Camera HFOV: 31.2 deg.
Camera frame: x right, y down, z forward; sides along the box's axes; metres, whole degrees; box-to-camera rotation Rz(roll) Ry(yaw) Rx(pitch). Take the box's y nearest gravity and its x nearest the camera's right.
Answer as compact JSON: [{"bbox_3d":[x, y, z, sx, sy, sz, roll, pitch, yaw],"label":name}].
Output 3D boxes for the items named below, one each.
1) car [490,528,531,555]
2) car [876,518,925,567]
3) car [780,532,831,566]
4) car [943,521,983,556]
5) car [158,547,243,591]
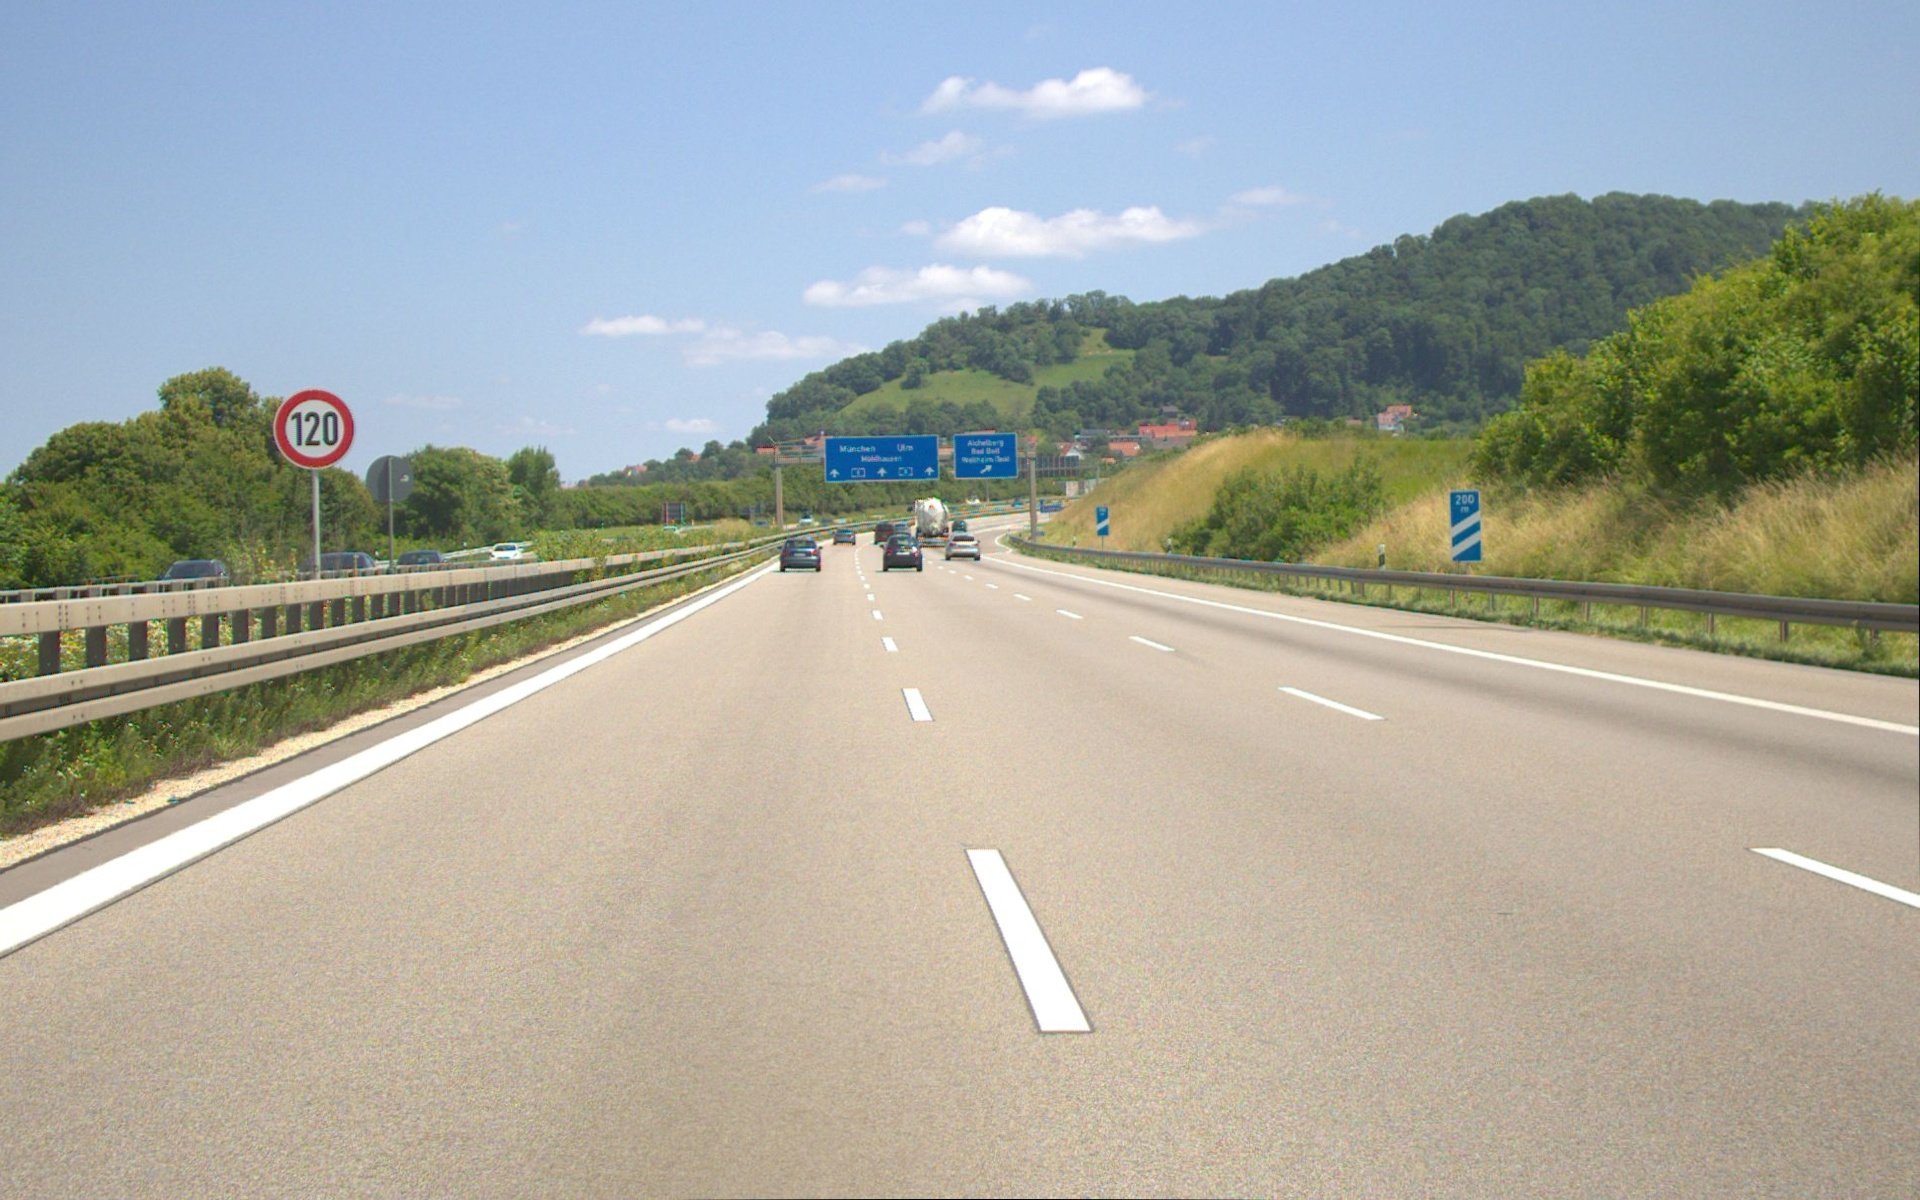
[{"bbox_3d":[-26.083,-3.411,199.554,1.886,1.535,4.000,0,1,-1],"label":"car"},{"bbox_3d":[-2.462,-2.366,142.865,1.993,2.007,4.000,0,1,-1],"label":"car"},{"bbox_3d":[-6.380,-2.095,142.344,1.993,1.384,4.000,0,1,-1],"label":"car"},{"bbox_3d":[0.131,-3.302,184.013,1.993,1.812,4.000,-2,1,-1],"label":"car"},{"bbox_3d":[-22.551,-0.926,102.158,1.741,1.259,3.678,0,1,0],"label":"car"}]
